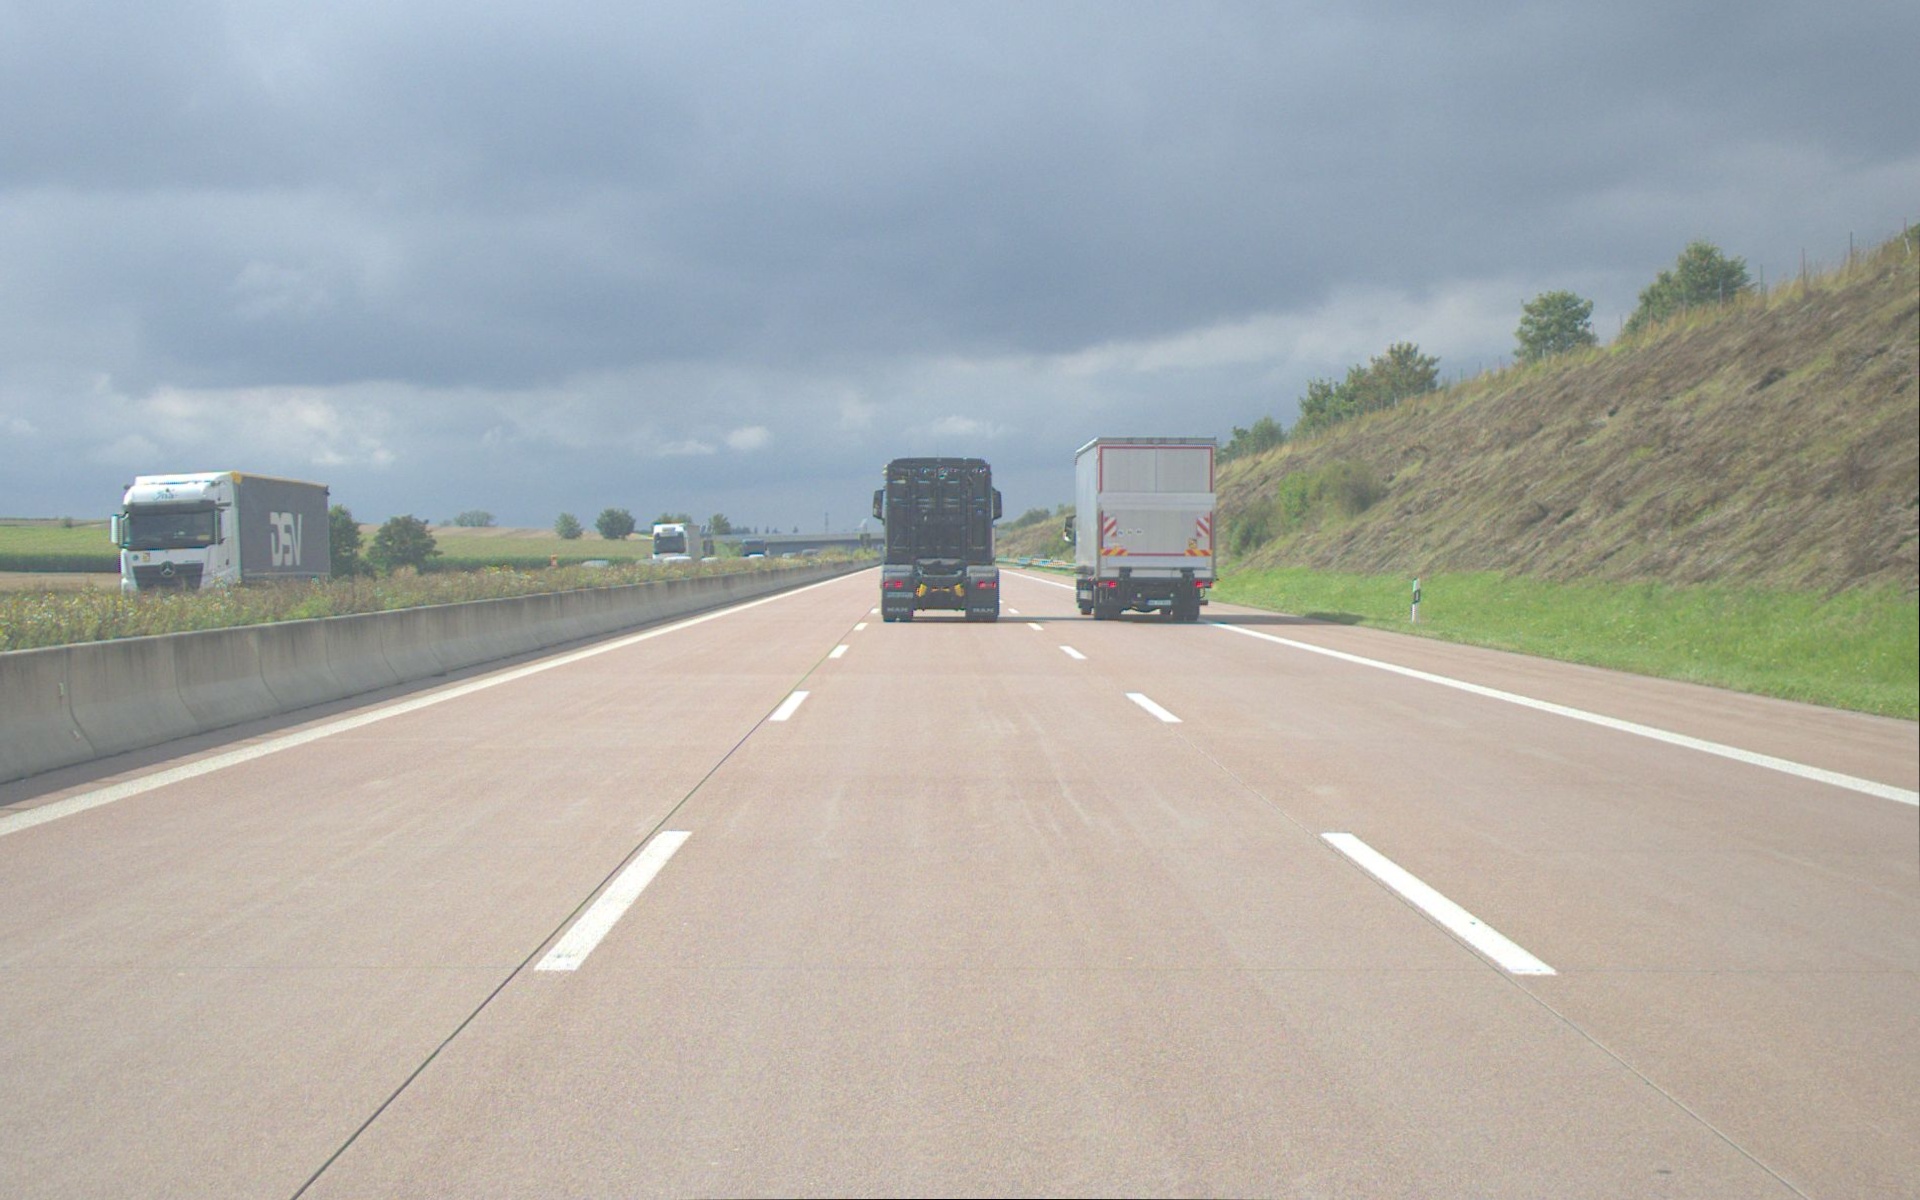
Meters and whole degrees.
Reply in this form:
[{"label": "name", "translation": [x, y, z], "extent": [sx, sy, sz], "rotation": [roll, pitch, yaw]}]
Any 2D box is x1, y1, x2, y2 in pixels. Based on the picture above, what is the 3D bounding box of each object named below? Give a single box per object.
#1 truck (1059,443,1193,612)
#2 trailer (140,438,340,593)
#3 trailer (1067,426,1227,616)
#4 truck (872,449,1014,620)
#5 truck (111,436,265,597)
[{"label": "truck", "translation": [3.886, -1.686, 81.232], "extent": [2.748, 3.878, 4.546], "rotation": [0, 1, -2]}, {"label": "trailer", "translation": [-19.823, -2.303, 95.664], "extent": [2.770, 3.945, 14.332], "rotation": [-1, 1, -1]}, {"label": "trailer", "translation": [4.079, -1.707, 76.990], "extent": [2.747, 3.998, 8.671], "rotation": [0, 1, -2]}, {"label": "truck", "translation": [-0.460, -1.415, 75.924], "extent": [2.847, 3.537, 8.320], "rotation": [0, 1, -2]}, {"label": "truck", "translation": [-19.642, -2.121, 87.771], "extent": [2.770, 3.945, 5.291], "rotation": [-1, 1, -1]}]
